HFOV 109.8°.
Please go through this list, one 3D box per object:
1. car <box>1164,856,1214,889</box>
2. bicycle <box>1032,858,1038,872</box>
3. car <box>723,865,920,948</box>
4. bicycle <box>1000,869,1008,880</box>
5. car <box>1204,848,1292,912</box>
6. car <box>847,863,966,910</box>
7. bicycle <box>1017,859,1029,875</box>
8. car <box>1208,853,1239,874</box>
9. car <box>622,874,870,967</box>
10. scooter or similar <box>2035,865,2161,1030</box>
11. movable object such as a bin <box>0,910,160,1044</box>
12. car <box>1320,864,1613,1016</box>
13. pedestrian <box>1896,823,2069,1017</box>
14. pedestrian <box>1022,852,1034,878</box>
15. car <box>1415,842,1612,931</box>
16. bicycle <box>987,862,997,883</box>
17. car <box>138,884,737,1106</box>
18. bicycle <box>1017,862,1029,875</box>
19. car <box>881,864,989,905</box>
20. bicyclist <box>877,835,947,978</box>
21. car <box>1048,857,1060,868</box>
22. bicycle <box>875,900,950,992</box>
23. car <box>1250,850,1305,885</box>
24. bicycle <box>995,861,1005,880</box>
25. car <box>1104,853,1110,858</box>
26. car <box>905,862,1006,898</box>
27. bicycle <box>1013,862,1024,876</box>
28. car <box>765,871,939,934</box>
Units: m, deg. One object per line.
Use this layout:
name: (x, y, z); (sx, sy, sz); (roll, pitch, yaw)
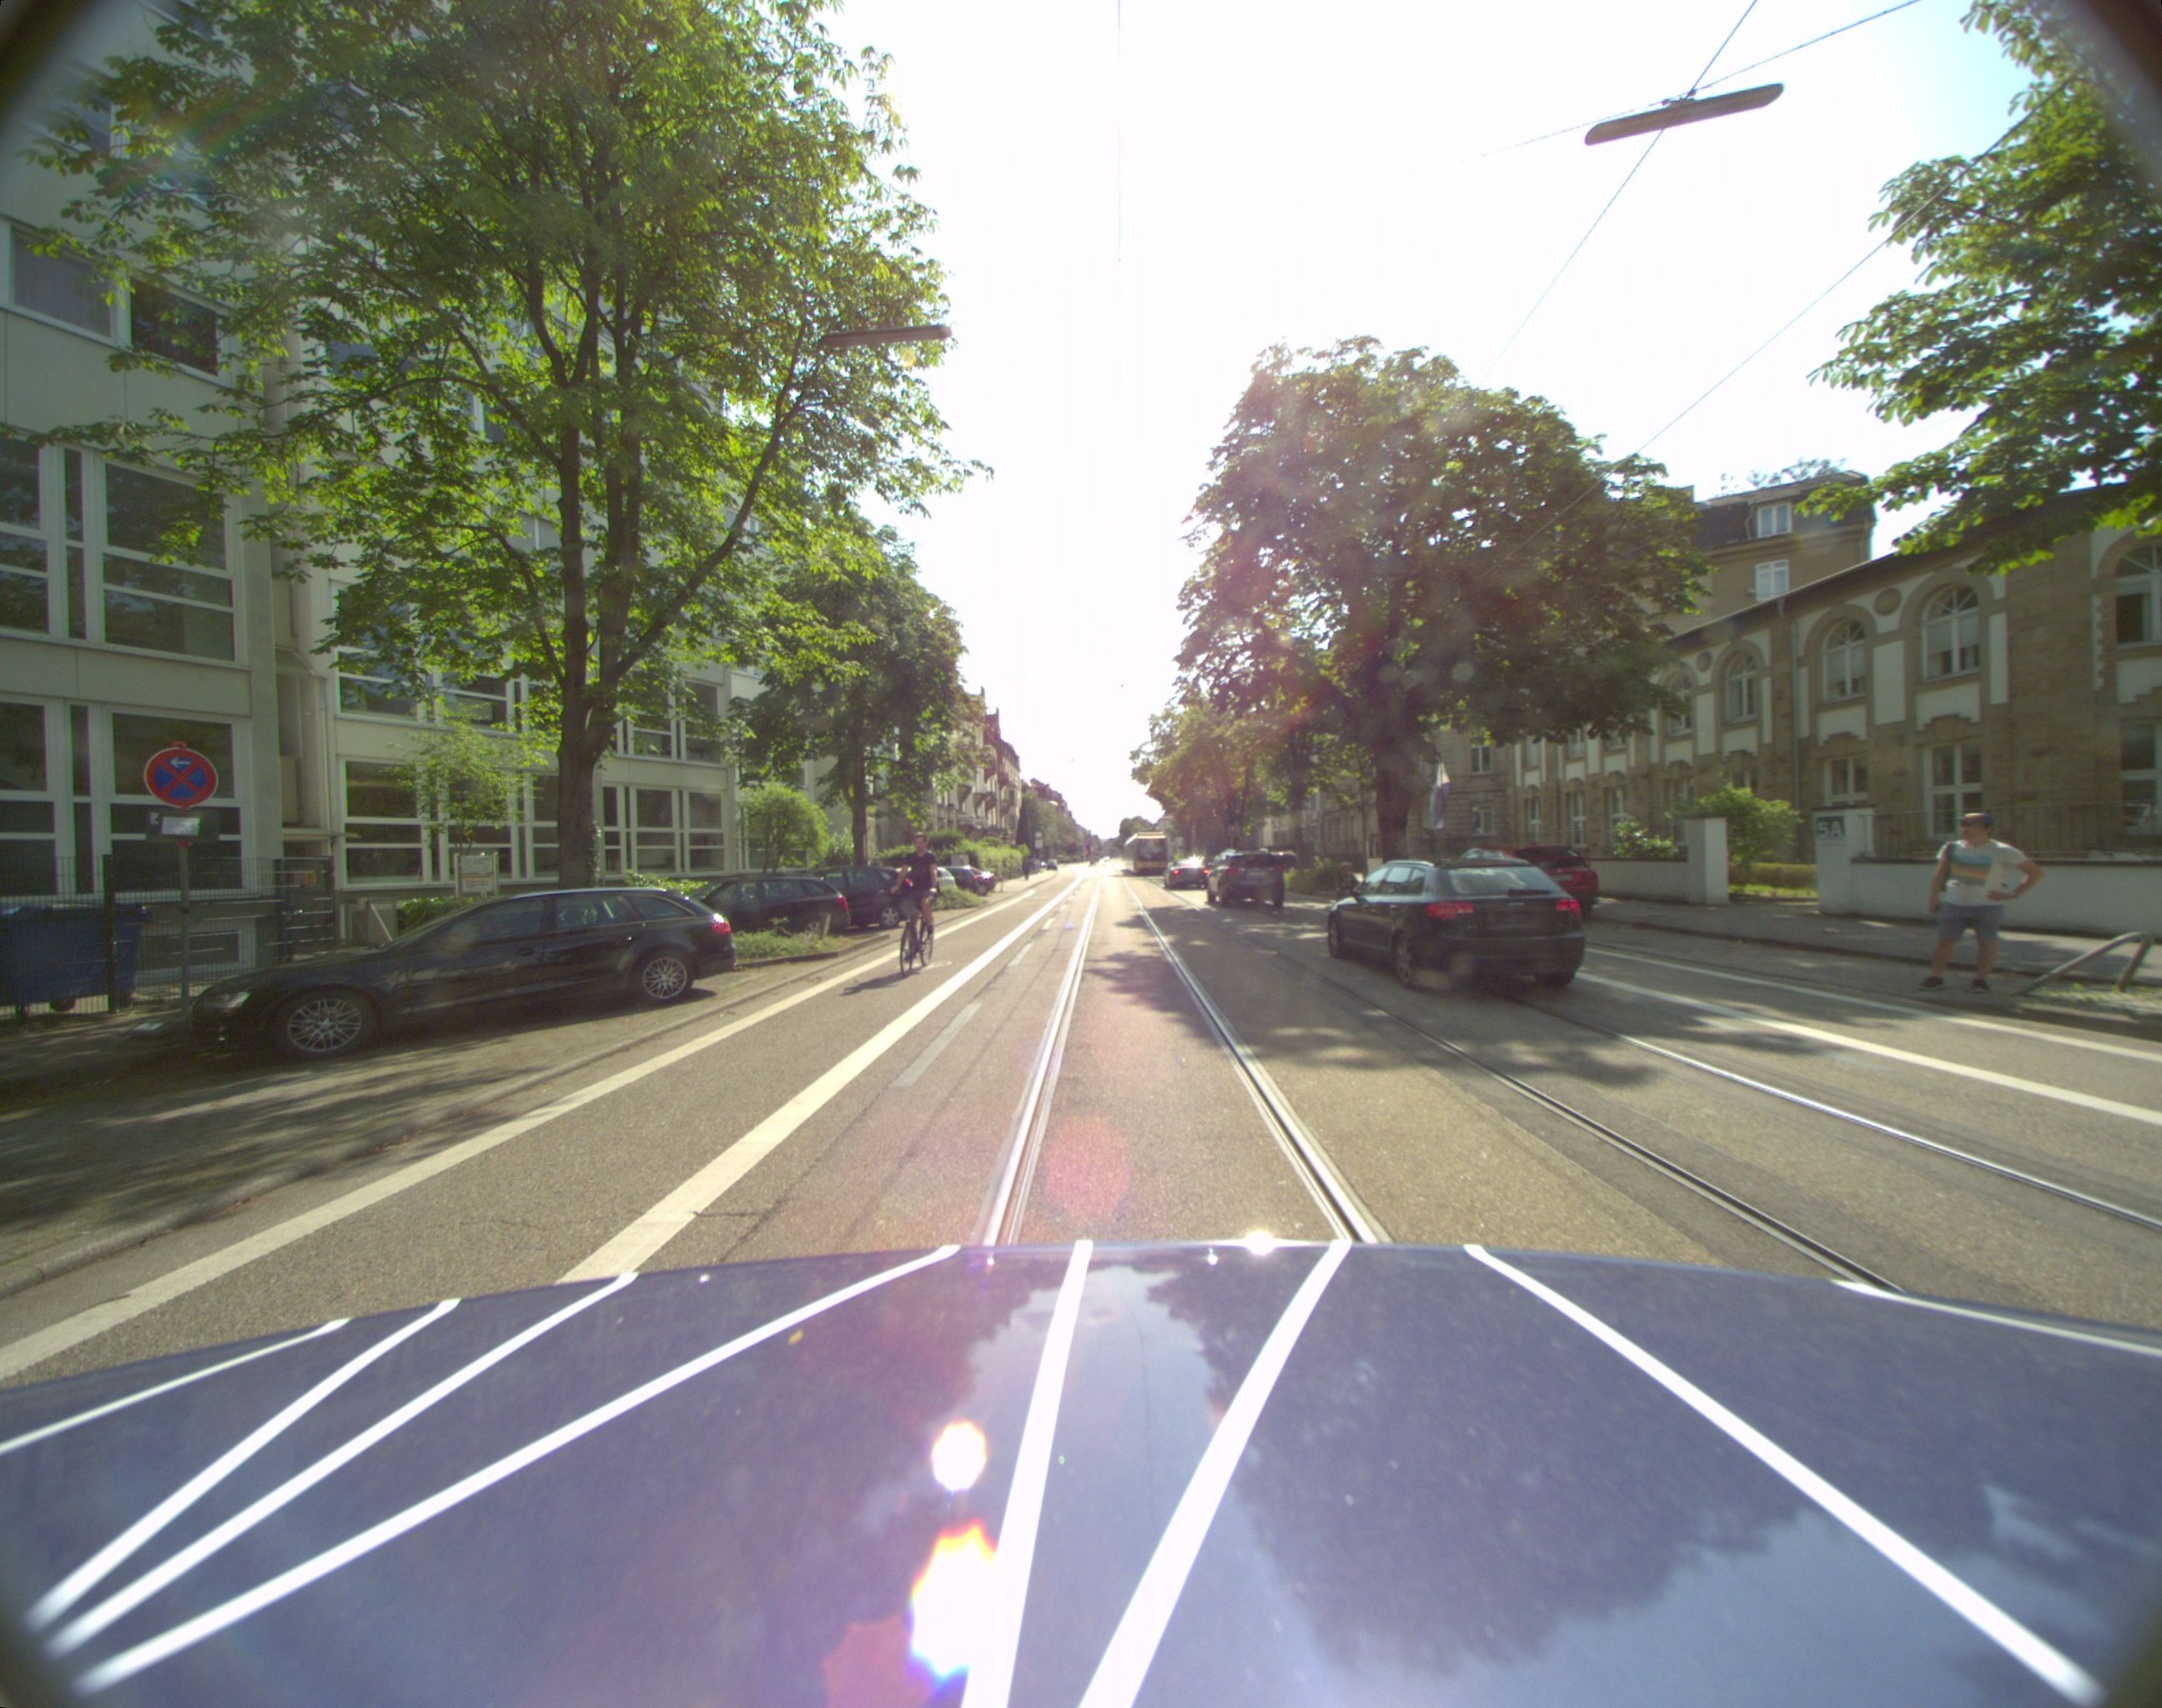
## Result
car: (5.014, 0.827, 35.748); (1.803, 1.380, 4.426); (-1, 0, 2)
bicycle: (-4.230, 1.026, 70.054); (0.452, 1.253, 1.844); (1, 0, -1)
car: (-6.186, 1.181, 18.338); (4.007, 1.565, 1.900); (-3, 0, -40)
bicycle: (-5.028, 1.359, 49.728); (0.280, 0.673, 1.559); (2, 1, 2)
car: (4.944, 0.695, 23.097); (1.830, 1.717, 4.391); (-1, 1, 2)
car: (-6.373, 1.145, 28.002); (4.008, 1.452, 1.531); (-2, 0, -44)
bicycle: (-4.740, 1.039, 62.506); (0.742, 1.224, 2.516); (-1, 1, 1)
car: (10.968, 0.694, 58.840); (1.658, 1.476, 3.808); (-3, 1, 1)
car: (-6.481, 1.216, 14.973); (4.084, 1.434, 1.722); (-1, -2, -42)
scooter or similar: (9.488, 0.770, 6.581); (1.342, 1.272, 0.855); (-3, 1, 0)
movable object such as a bin: (-12.054, 1.381, 8.724); (1.278, 1.311, 1.325); (-2, 1, 2)
car: (4.334, 0.859, 9.312); (1.727, 1.368, 4.000); (-1, 0, 3)
pedestrian: (8.790, 0.608, 7.439); (0.790, 1.756, 0.752); (-3, 1, -7)
pedestrian: (-3.785, 0.757, 54.402); (0.790, 1.851, 0.580); (1, 1, -6)
car: (9.491, 0.620, 17.204); (1.754, 1.656, 4.720); (-3, 0, 1)
bicycle: (-5.184, 1.071, 44.295); (0.280, 1.102, 2.011); (2, 1, 2)
car: (-6.563, 1.232, 8.399); (4.544, 1.434, 2.026); (-4, 1, -43)
bicycle: (-4.504, 1.111, 59.029); (0.612, 0.990, 2.362); (1, 1, 1)
car: (-5.983, 1.231, 31.383); (4.007, 1.440, 1.695); (-2, 0, -41)
bicyclist: (-2.414, 0.719, 10.971); (0.608, 1.937, 1.130); (-3, 1, 2)
car: (-3.639, 1.160, 103.011); (1.517, 1.490, 2.794); (1, 0, -1)
bicycle: (-2.396, 1.281, 11.010); (0.617, 1.039, 1.835); (1, 2, 2)
car: (10.371, 0.681, 40.426); (1.811, 1.631, 4.332); (-3, 0, 1)
bicycle: (-5.085, 1.040, 47.812); (0.280, 1.102, 2.011); (2, 1, 2)
car: (8.608, 0.423, 248.692); (1.860, 1.455, 4.000); (-2, 0, 2)
car: (-5.660, 1.136, 34.547); (4.168, 1.415, 1.861); (-1, 0, -41)
bicycle: (-4.654, 1.109, 56.632); (0.614, 0.983, 1.872); (1, 1, 1)
car: (-6.336, 1.291, 21.283); (4.183, 1.341, 1.900); (-3, 0, -43)
